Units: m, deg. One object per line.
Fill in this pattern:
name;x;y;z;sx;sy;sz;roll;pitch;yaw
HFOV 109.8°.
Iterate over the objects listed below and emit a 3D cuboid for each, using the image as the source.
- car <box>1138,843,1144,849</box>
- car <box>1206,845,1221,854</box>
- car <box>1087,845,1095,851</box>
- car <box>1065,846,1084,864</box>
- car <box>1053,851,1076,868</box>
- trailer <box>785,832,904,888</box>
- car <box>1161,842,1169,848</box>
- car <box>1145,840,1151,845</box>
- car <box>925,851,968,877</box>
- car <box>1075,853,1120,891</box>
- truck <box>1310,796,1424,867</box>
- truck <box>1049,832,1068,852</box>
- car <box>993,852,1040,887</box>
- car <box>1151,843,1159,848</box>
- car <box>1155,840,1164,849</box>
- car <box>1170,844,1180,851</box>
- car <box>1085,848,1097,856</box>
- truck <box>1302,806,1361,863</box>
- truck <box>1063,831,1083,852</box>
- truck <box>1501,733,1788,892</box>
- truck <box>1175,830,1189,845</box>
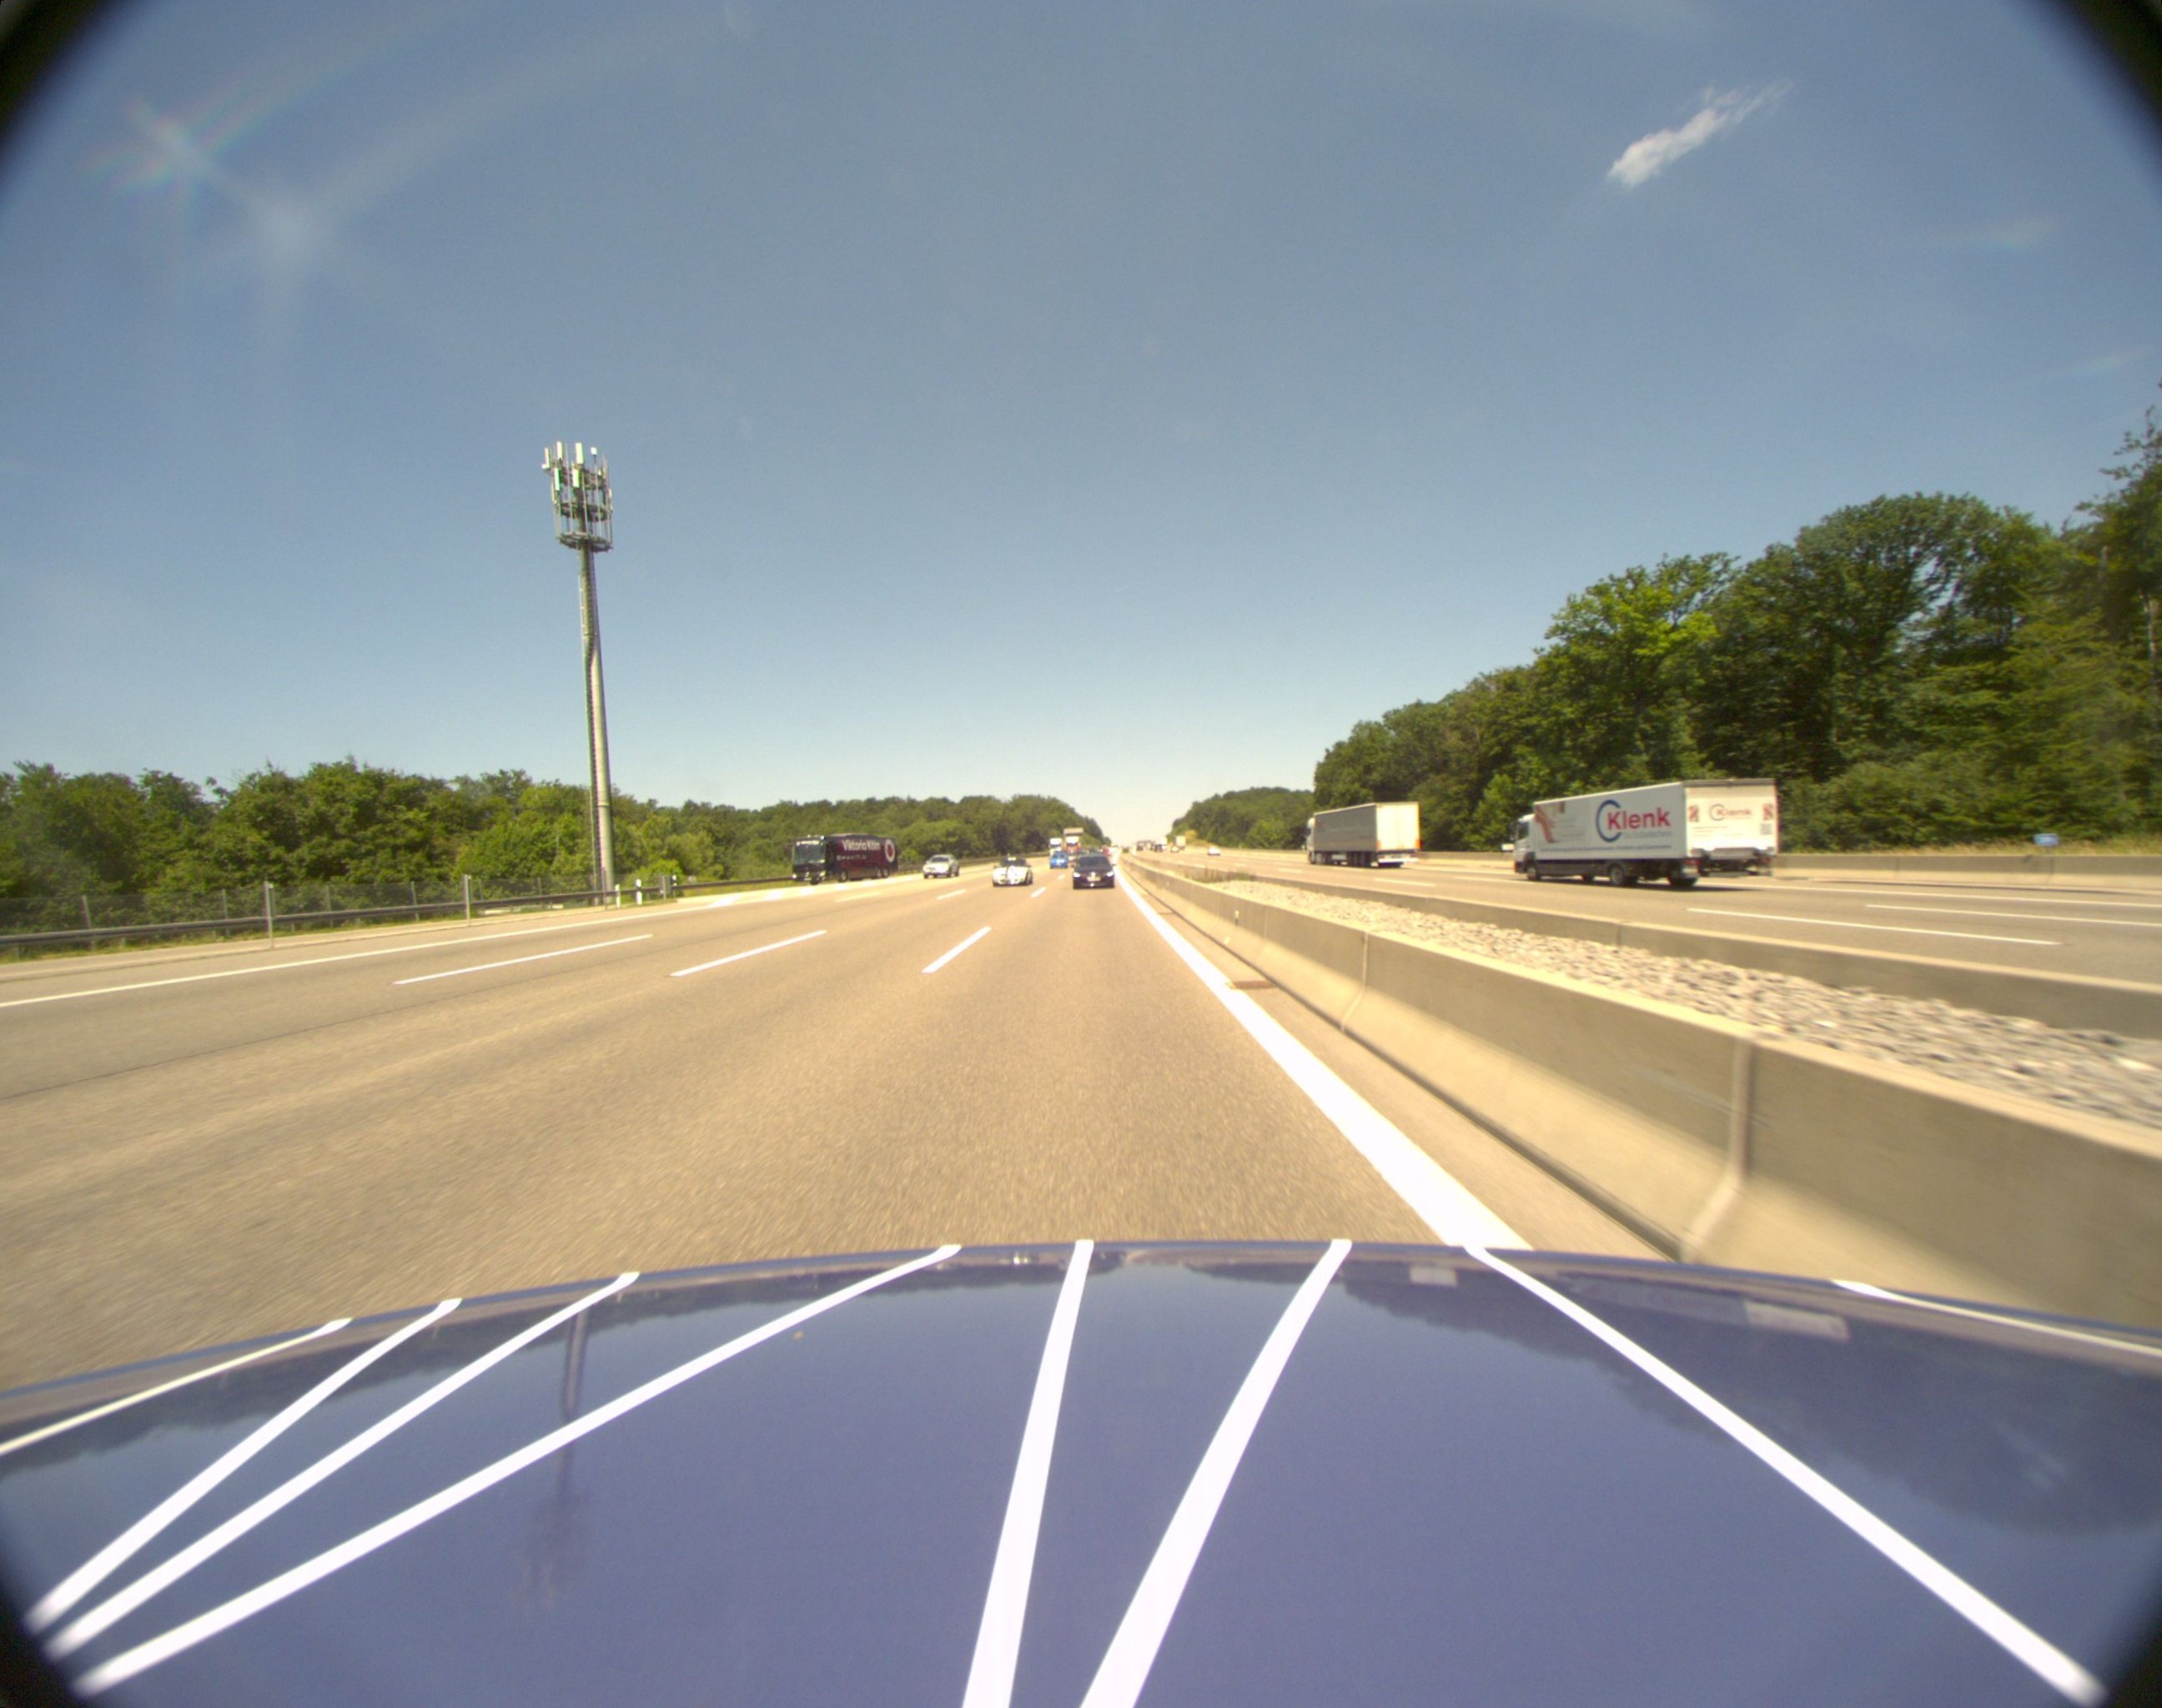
car;17.151;-2.333;217.534;1.605;1.460;4.505;-2;1;2
car;21.828;-0.758;125.426;1.877;1.472;4.813;-3;1;2
car;2.933;-1.735;226.980;1.909;1.503;4.161;-5;0;5
car;-0.849;0.112;99.257;1.966;2.041;4.785;-5;0;4
car;-1.570;0.495;73.074;1.741;1.403;4.001;-4;1;4
trailer;-17.496;0.224;57.798;2.863;3.667;13.547;-3;1;8
car;24.812;-2.562;223.922;1.877;1.526;4.136;-3;1;2
car;22.172;-3.788;251.127;1.836;1.553;4.776;2;1;3
car;-9.681;0.654;55.152;1.805;1.721;5.240;-3;0;4
car;0.788;0.737;33.387;1.777;1.425;4.144;-4;0;3
truck;19.363;-1.412;52.912;2.764;4.153;14.508;-2;1;2
truck;-5.146;-2.716;175.618;2.728;4.136;10.973;-5;0;4
car;-3.209;0.737;38.501;1.845;1.543;4.000;-3;1;2
car;20.953;-2.440;215.242;1.877;1.467;5.111;-2;1;3
car;19.031;-2.331;183.902;1.877;1.929;5.774;-2;1;2
car;21.261;-1.485;171.384;1.877;1.526;4.813;-2;1;2
car;2.087;-0.410;159.282;1.909;1.503;4.161;-5;0;5
truck;19.509;-1.466;59.509;2.688;4.153;6.231;-2;1;2
truck;-1.586;-2.606;158.640;3.017;3.957;7.543;-4;0;5
truck;17.704;-1.150;25.092;2.537;4.153;9.619;-2;1;2
truck;28.462;-4.748;214.732;2.696;4.003;14.298;-2;1;3
